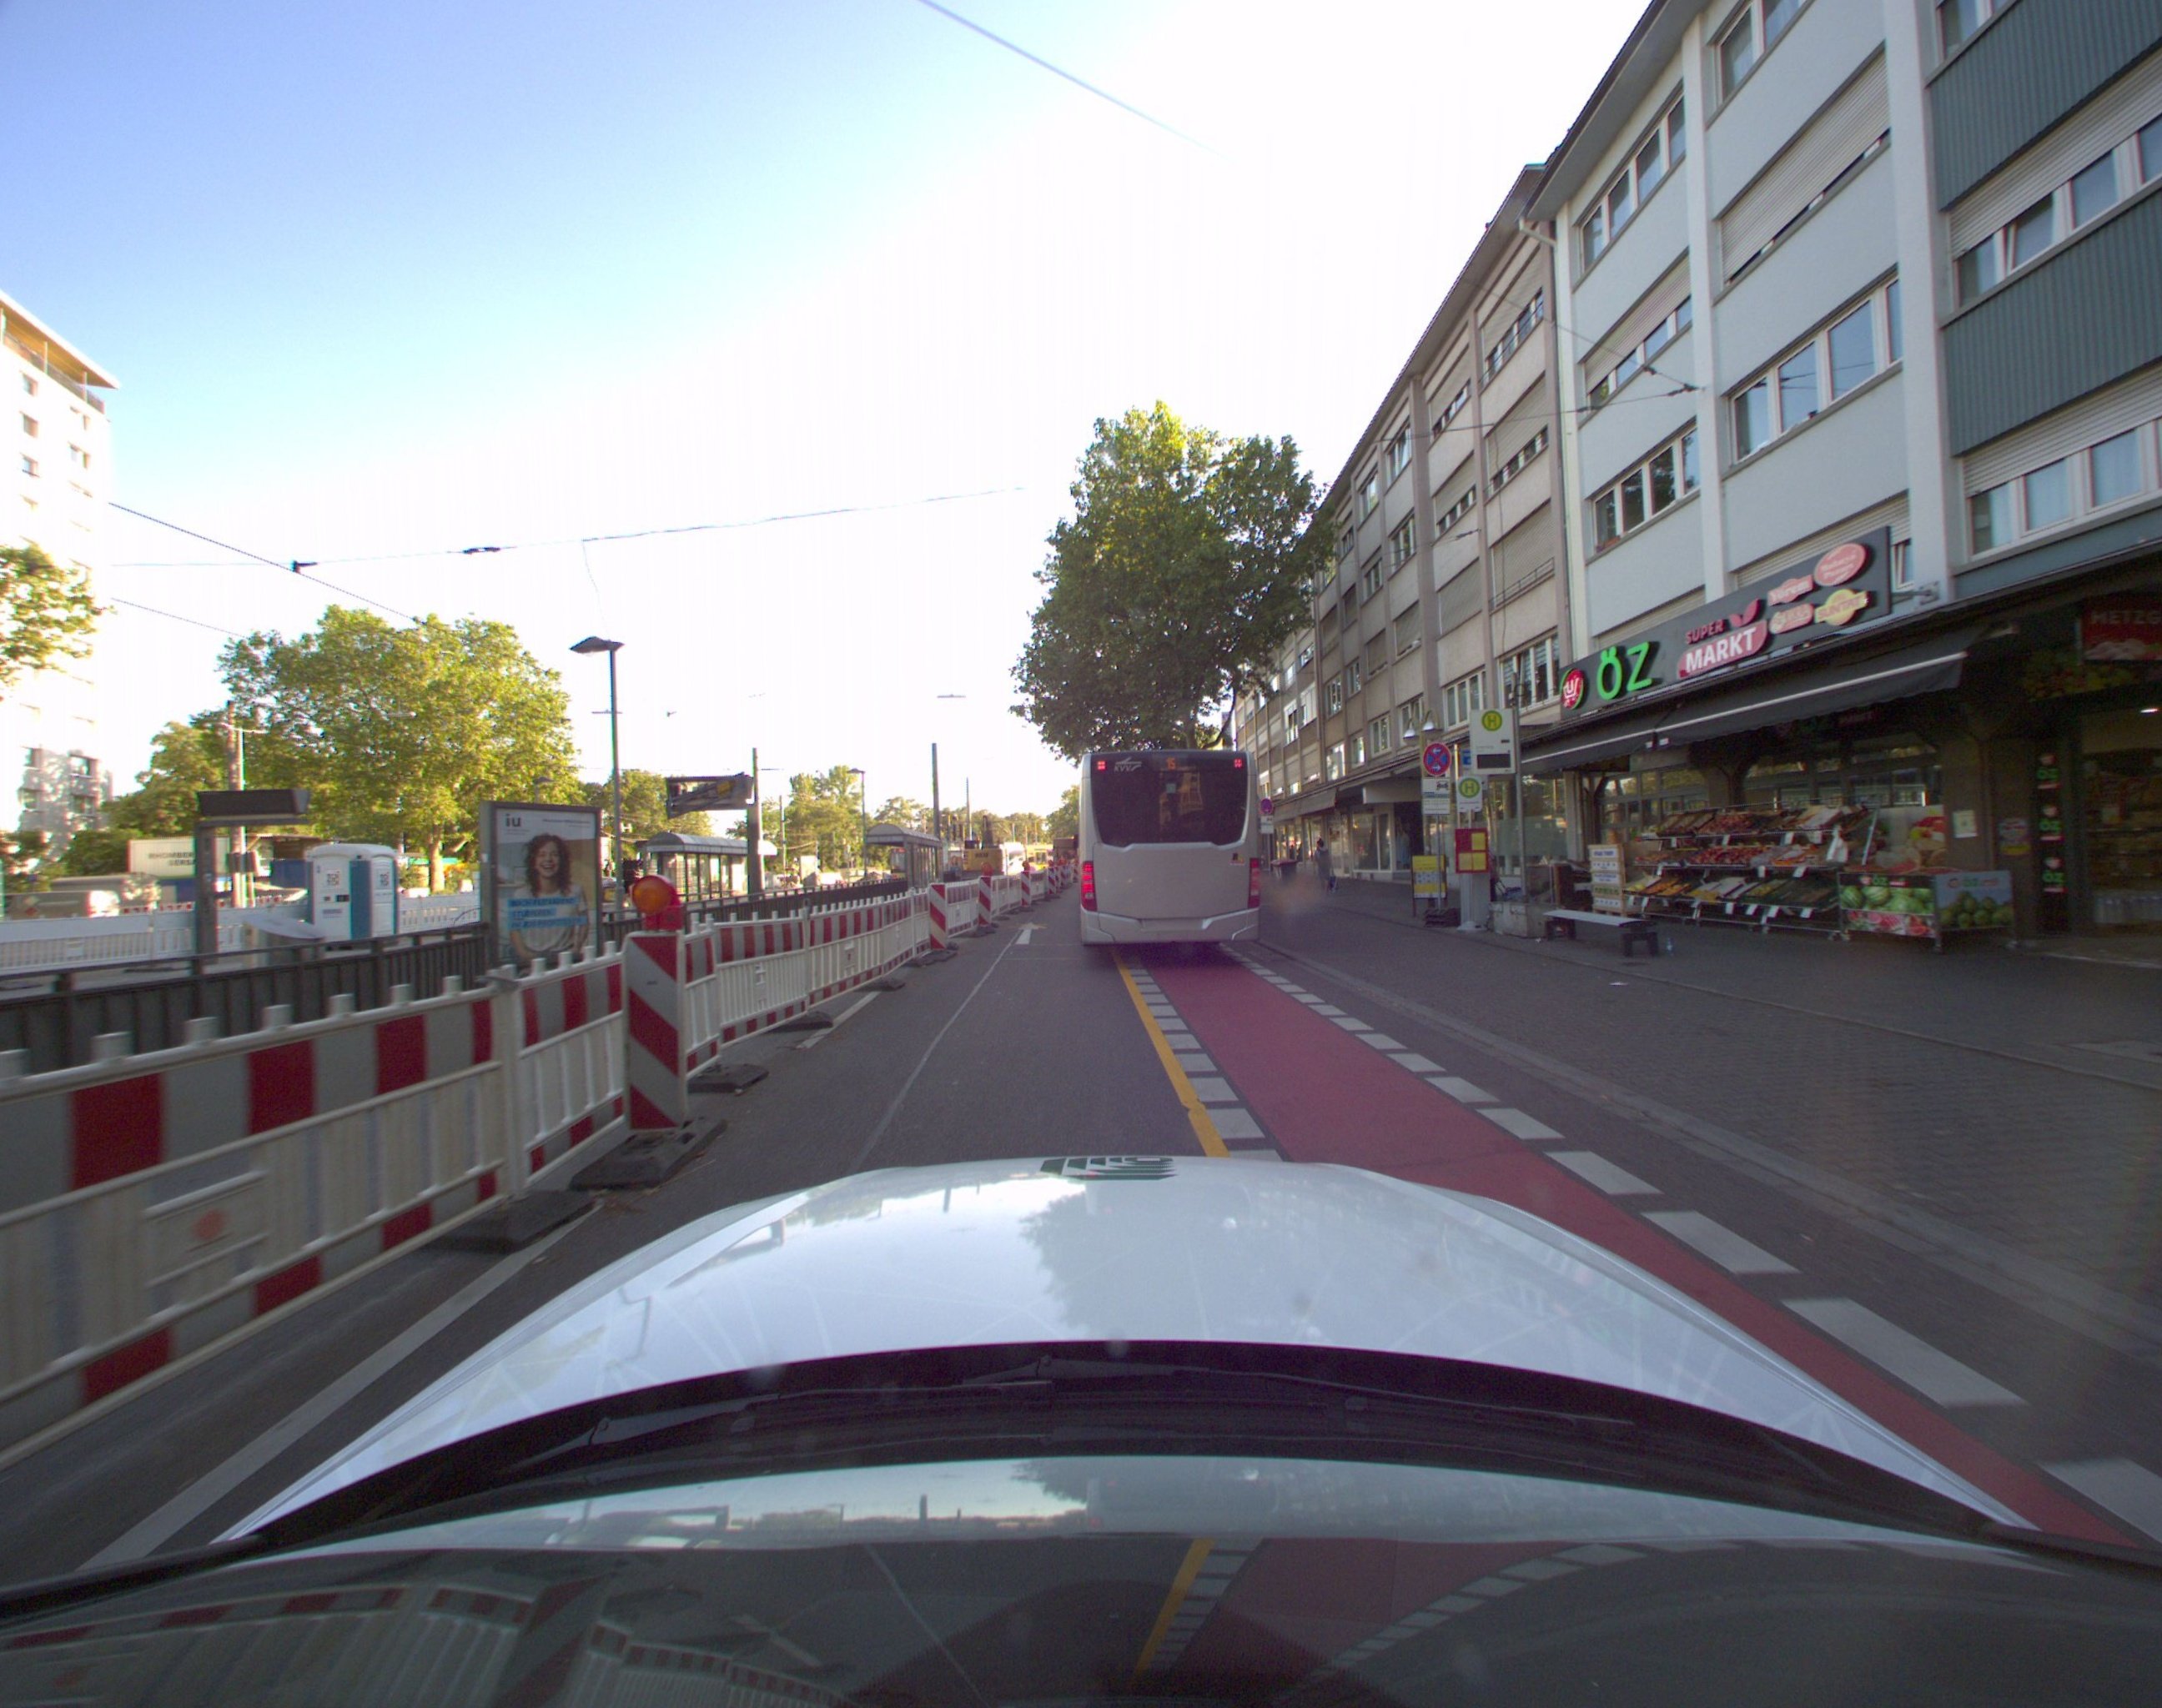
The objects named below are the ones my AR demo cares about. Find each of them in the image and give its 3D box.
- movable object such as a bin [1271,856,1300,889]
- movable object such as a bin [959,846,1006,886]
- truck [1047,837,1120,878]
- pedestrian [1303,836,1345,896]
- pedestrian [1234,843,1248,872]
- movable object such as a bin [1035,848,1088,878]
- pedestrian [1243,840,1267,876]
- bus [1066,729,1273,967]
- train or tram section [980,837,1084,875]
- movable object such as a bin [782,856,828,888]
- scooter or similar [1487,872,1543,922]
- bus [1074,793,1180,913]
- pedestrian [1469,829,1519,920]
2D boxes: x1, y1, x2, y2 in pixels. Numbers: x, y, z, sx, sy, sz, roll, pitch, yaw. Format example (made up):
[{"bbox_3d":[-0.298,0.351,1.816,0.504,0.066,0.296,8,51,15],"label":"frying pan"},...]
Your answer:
[{"bbox_3d":[7.186,0.632,28.642,0.671,1.075,1.228,-3,1,1],"label":"movable object such as a bin"},{"bbox_3d":[-6.160,0.732,51.460,2.638,2.318,4.893,-2,0,-5],"label":"movable object such as a bin"},{"bbox_3d":[0.409,0.251,75.954,2.785,3.541,9.038,-2,0,28],"label":"truck"},{"bbox_3d":[7.154,0.338,24.014,0.840,1.673,0.990,-4,-1,0],"label":"pedestrian"},{"bbox_3d":[9.519,0.216,48.493,0.581,1.708,0.679,-5,0,1],"label":"pedestrian"},{"bbox_3d":[-1.556,0.709,66.461,1.975,2.256,5.239,-1,0,27],"label":"movable object such as a bin"},{"bbox_3d":[9.398,0.207,44.031,0.835,1.869,1.099,-7,-1,1],"label":"pedestrian"},{"bbox_3d":[1.225,-0.077,16.351,2.724,3.139,10.702,-2,0,0],"label":"bus"},{"bbox_3d":[-4.746,0.127,83.826,2.822,3.533,13.483,-3,0,35],"label":"train or tram section"},{"bbox_3d":[-24.323,1.580,71.931,2.142,2.639,4.602,-3,0,3],"label":"movable object such as a bin"},{"bbox_3d":[7.813,0.764,14.682,0.574,0.844,0.733,-2,-1,-1],"label":"scooter or similar"},{"bbox_3d":[1.184,0.003,26.149,2.700,3.107,8.976,-2,0,-1],"label":"bus"},{"bbox_3d":[7.782,0.379,15.373,0.642,1.673,0.557,-2,-1,8],"label":"pedestrian"}]
